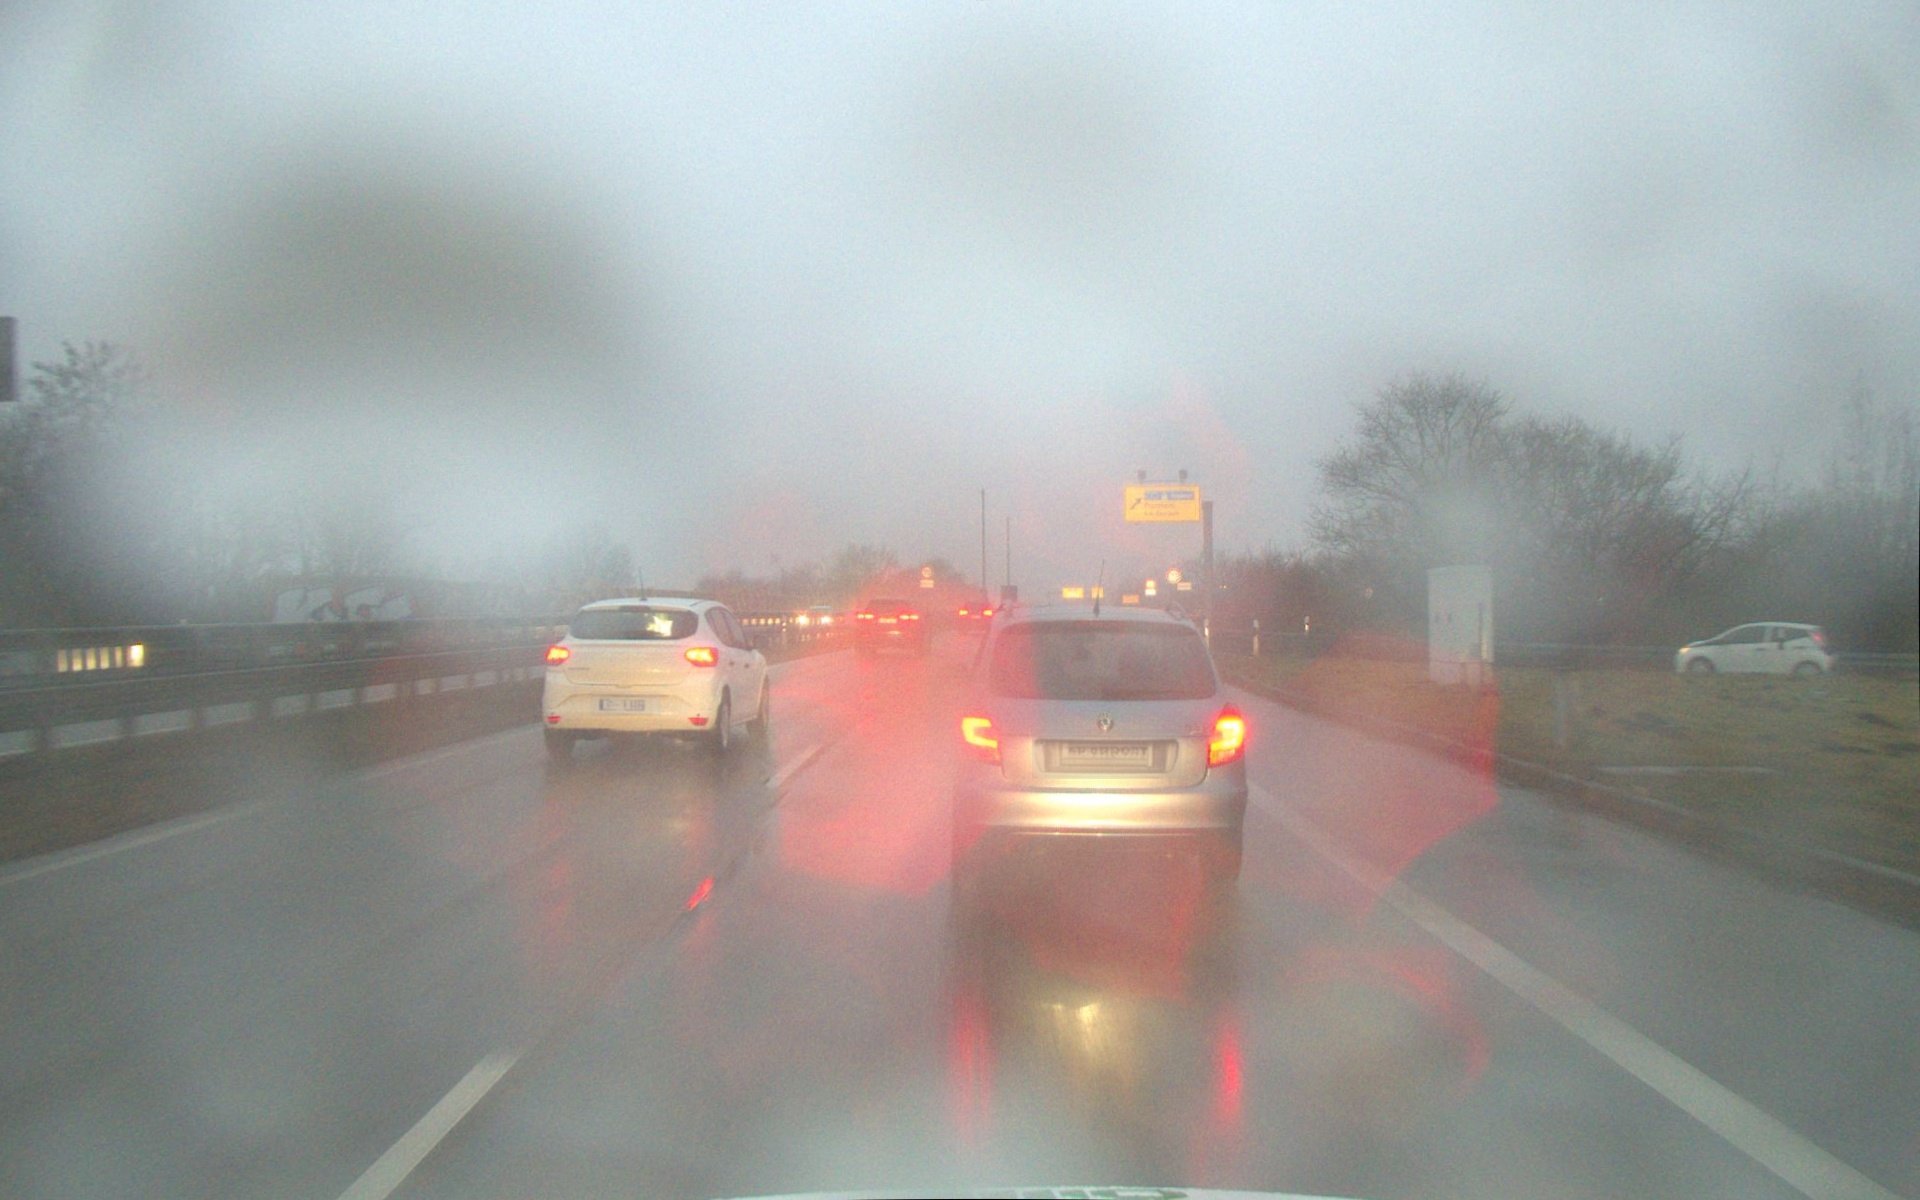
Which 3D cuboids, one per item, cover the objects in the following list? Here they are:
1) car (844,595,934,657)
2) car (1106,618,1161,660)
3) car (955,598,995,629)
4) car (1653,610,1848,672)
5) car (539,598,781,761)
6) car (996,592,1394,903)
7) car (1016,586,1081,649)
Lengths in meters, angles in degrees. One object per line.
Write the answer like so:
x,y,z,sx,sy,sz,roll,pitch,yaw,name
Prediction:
-1.935,0.703,46.389,1.951,1.629,4.311,1,0,4,car
6.940,1.536,66.454,1.753,1.572,3.999,0,0,0,car
0.806,0.679,84.512,1.752,1.572,4.002,0,0,4,car
18.669,0.929,39.100,3.918,1.369,1.993,0,0,35,car
-2.920,0.713,16.952,1.688,1.465,4.226,0,0,0,car
1.205,0.749,10.251,1.952,1.527,4.138,0,-1,1,car
2.694,0.505,49.681,1.857,1.798,4.311,0,0,4,car
